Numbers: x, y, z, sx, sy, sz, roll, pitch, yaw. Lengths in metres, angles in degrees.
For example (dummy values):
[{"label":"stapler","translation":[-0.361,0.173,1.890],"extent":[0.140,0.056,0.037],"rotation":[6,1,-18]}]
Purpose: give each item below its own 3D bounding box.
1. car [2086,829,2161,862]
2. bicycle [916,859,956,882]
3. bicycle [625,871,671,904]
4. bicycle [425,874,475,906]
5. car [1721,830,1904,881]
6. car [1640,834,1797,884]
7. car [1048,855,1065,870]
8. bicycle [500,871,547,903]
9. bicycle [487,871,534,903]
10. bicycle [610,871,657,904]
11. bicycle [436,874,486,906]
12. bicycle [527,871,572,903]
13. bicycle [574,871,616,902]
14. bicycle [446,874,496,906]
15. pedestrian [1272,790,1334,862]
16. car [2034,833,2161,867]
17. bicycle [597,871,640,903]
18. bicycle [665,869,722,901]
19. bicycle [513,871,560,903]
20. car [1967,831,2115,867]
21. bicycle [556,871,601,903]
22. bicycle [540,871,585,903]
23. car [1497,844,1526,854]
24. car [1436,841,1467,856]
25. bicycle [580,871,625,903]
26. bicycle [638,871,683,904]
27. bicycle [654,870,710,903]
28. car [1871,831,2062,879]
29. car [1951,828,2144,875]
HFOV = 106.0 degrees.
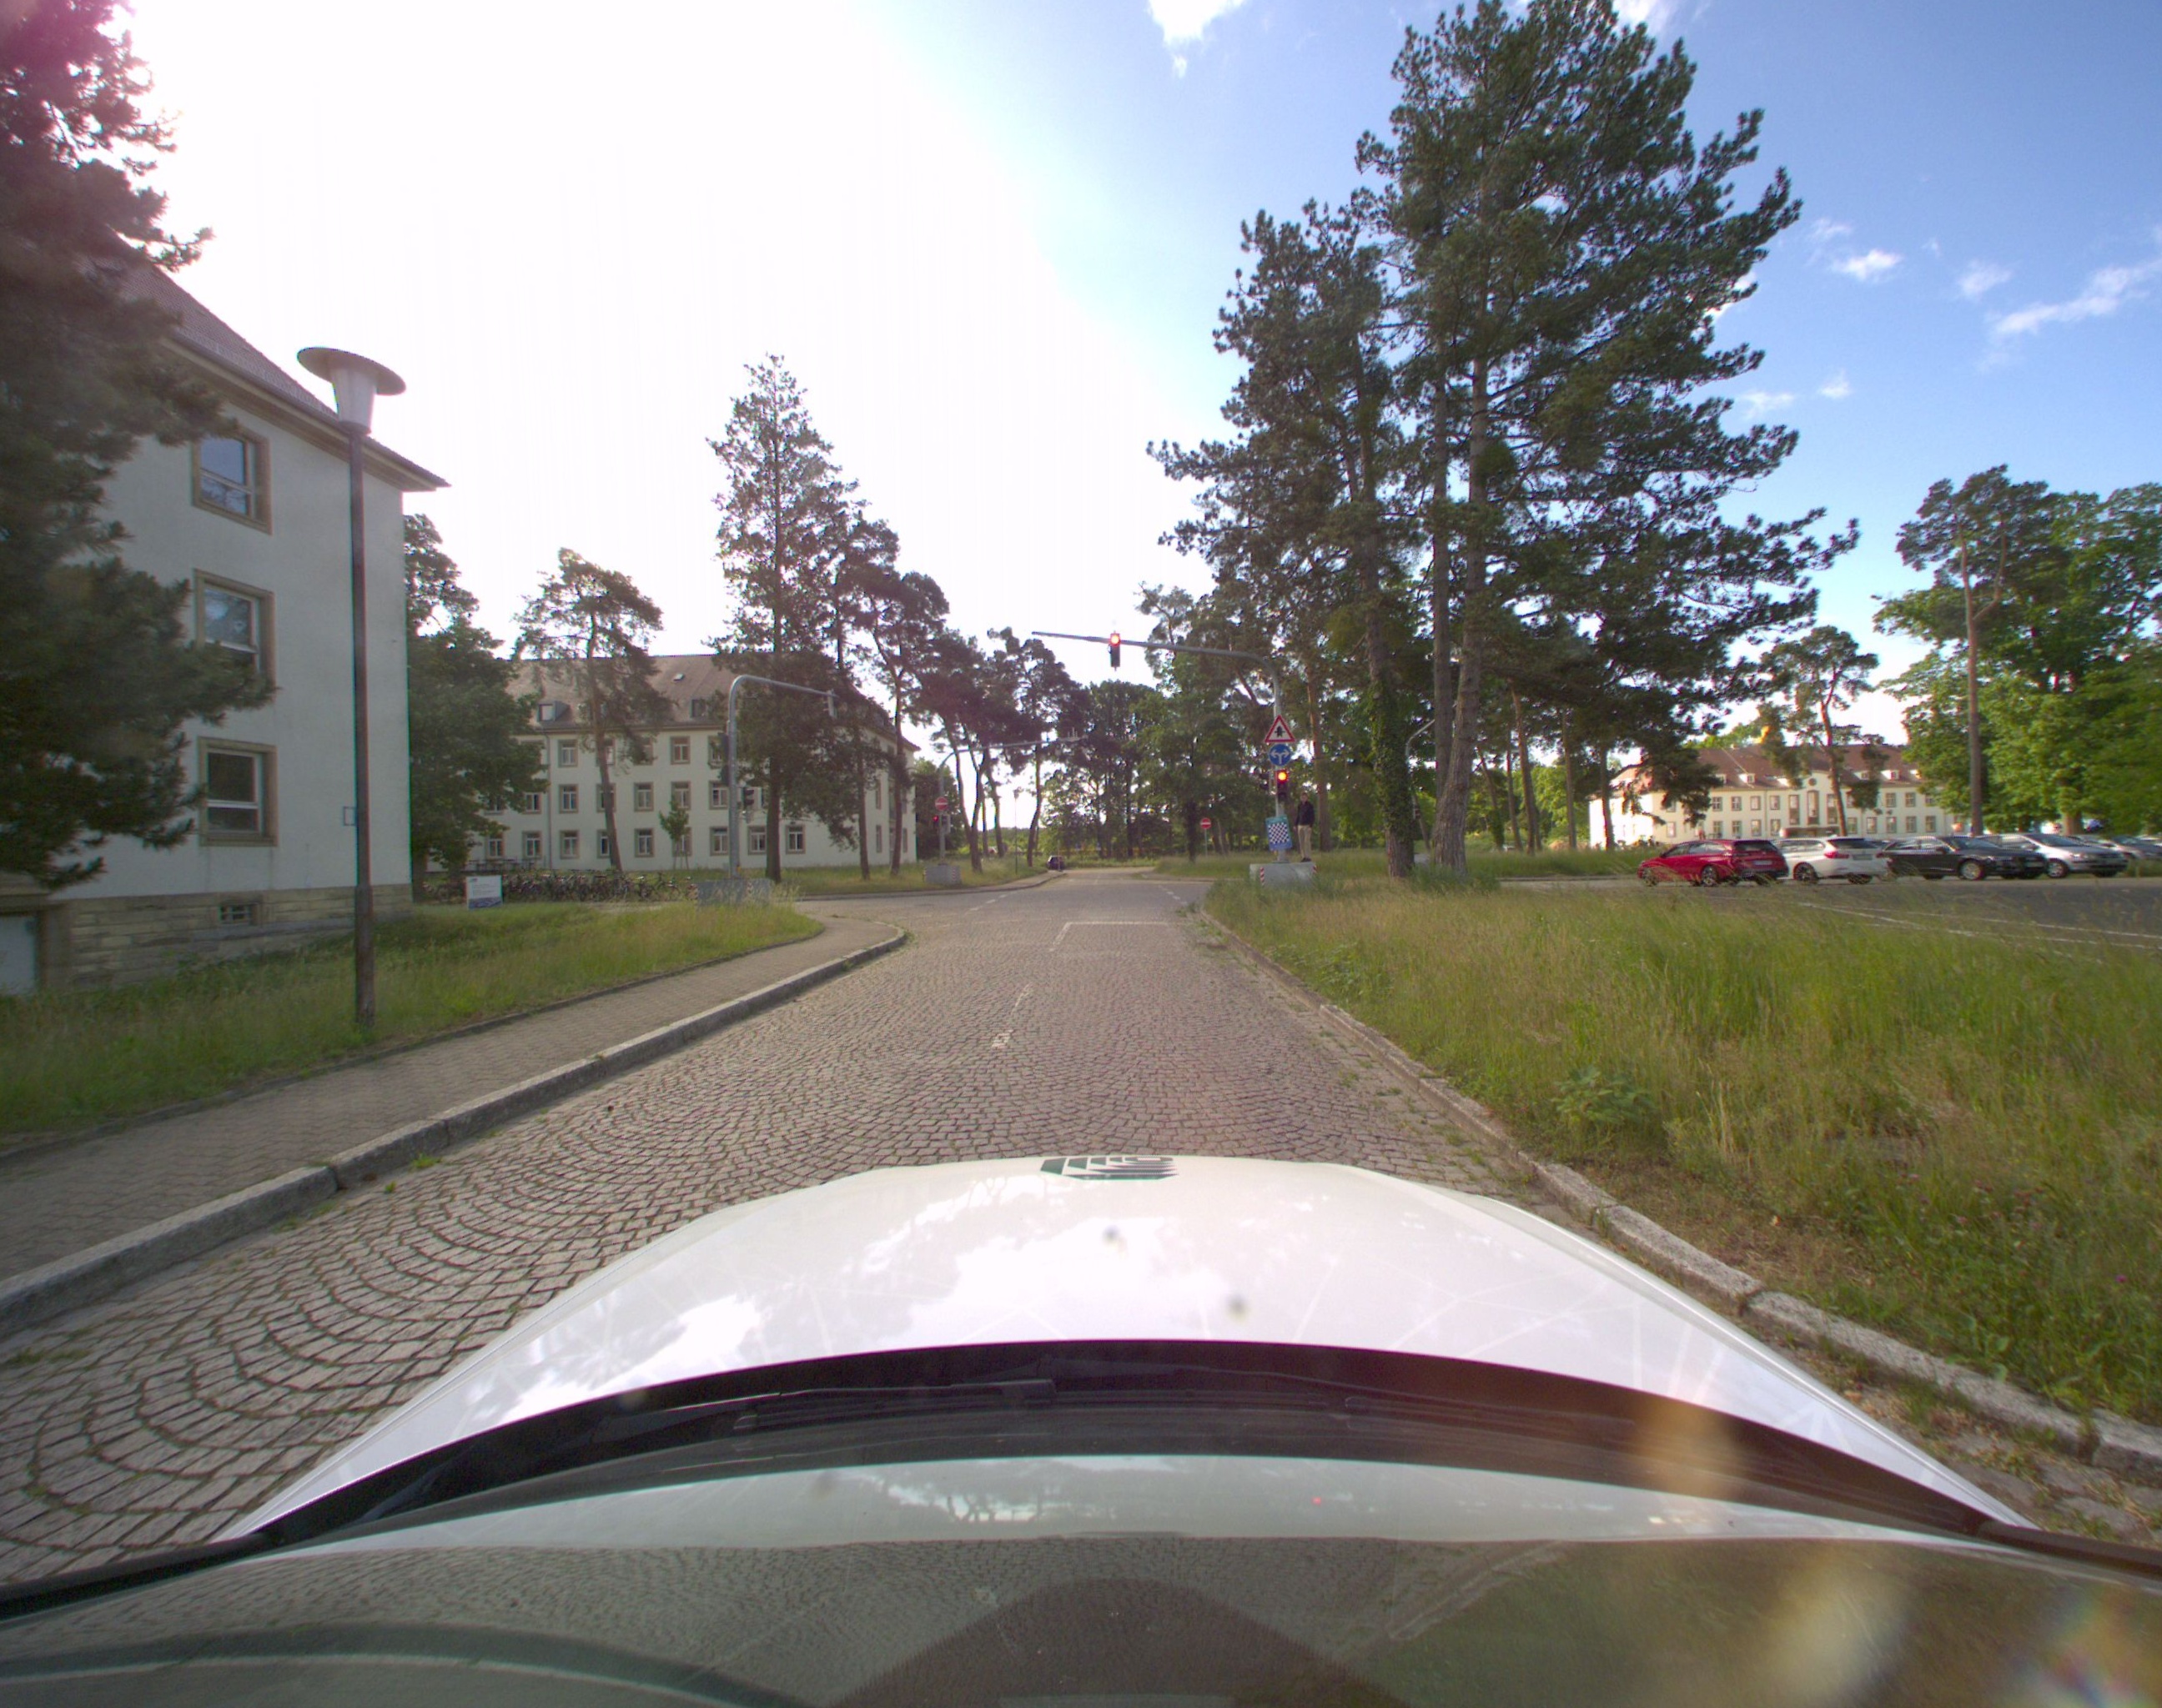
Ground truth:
[{"label":"car","translation":[47.907,-0.378,36.037],"extent":[1.717,1.468,4.243],"rotation":[0,0,2]},{"label":"bicycle","translation":[-7.090,0.807,39.929],"extent":[0.627,1.066,1.963],"rotation":[-2,0,40]},{"label":"bicycle","translation":[-17.473,1.328,32.939],"extent":[0.630,1.220,2.125],"rotation":[-2,0,2]},{"label":"bicycle","translation":[-26.079,1.458,33.704],"extent":[0.512,1.220,1.938],"rotation":[-2,0,2]},{"label":"car","translation":[22.151,0.107,24.925],"extent":[1.773,1.379,4.240],"rotation":[-2,-2,0]},{"label":"car","translation":[19.294,0.184,24.899],"extent":[1.649,1.399,4.131],"rotation":[0,-1,2]},{"label":"car","translation":[-2.688,0.920,89.253],"extent":[1.704,1.496,3.918],"rotation":[-2,0,0]},{"label":"bicycle","translation":[-22.993,1.339,33.618],"extent":[0.512,1.220,1.938],"rotation":[-2,0,2]},{"label":"bicycle","translation":[-23.538,1.344,33.648],"extent":[0.512,1.220,1.938],"rotation":[-2,0,2]},{"label":"bicycle","translation":[-18.077,1.331,32.955],"extent":[0.630,1.220,2.105],"rotation":[-2,0,2]},{"label":"bicycle","translation":[-25.631,1.455,33.690],"extent":[0.512,1.220,1.938],"rotation":[-2,0,2]},{"label":"bicycle","translation":[-21.911,1.347,33.623],"extent":[0.512,1.220,1.977],"rotation":[-2,0,2]},{"label":"bicycle","translation":[-20.224,1.341,33.926],"extent":[0.546,1.220,1.900],"rotation":[-2,0,2]},{"label":"bicycle","translation":[-25.202,1.457,33.683],"extent":[0.512,1.220,1.938],"rotation":[-2,0,2]},{"label":"pedestrian","translation":[5.804,-0.720,21.310],"extent":[1.157,1.796,1.069],"rotation":[-2,0,41]},{"label":"car","translation":[44.889,-0.170,35.543],"extent":[1.717,1.425,4.243],"rotation":[0,0,2]},{"label":"bicycle","translation":[-18.920,1.335,33.354],"extent":[0.570,1.220,1.990],"rotation":[-2,0,2]},{"label":"bicycle","translation":[-15.631,1.252,32.874],"extent":[1.937,1.220,0.635],"rotation":[-2,0,1]},{"label":"bicycle","translation":[-22.438,1.356,33.598],"extent":[0.512,1.220,1.955],"rotation":[-2,0,2]},{"label":"car","translation":[42.517,-0.191,36.232],"extent":[1.717,1.493,4.243],"rotation":[0,0,2]},{"label":"bicycle","translation":[-20.745,1.345,33.659],"extent":[0.512,1.220,2.016],"rotation":[-2,0,2]},{"label":"bicycle","translation":[-21.394,1.348,33.622],"extent":[0.512,1.220,1.977],"rotation":[-2,0,2]},{"label":"car","translation":[49.805,-0.570,94.268],"extent":[1.713,1.087,4.009],"rotation":[-2,0,8]},{"label":"car","translation":[42.779,-0.611,94.054],"extent":[1.820,1.582,4.164],"rotation":[-2,0,2]},{"label":"bicycle","translation":[-19.664,1.341,33.495],"extent":[0.576,1.220,2.030],"rotation":[-2,0,2]},{"label":"bicycle","translation":[-16.989,1.324,32.940],"extent":[0.630,1.220,2.115],"rotation":[-2,0,2]},{"label":"bicycle","translation":[-15.755,1.275,32.161],"extent":[1.855,1.220,0.635],"rotation":[-2,0,1]},{"label":"car","translation":[27.202,0.031,25.245],"extent":[1.610,1.315,4.048],"rotation":[-2,0,3]},{"label":"car","translation":[30.141,-0.069,25.590],"extent":[1.716,1.372,3.796],"rotation":[0,0,4]}]
